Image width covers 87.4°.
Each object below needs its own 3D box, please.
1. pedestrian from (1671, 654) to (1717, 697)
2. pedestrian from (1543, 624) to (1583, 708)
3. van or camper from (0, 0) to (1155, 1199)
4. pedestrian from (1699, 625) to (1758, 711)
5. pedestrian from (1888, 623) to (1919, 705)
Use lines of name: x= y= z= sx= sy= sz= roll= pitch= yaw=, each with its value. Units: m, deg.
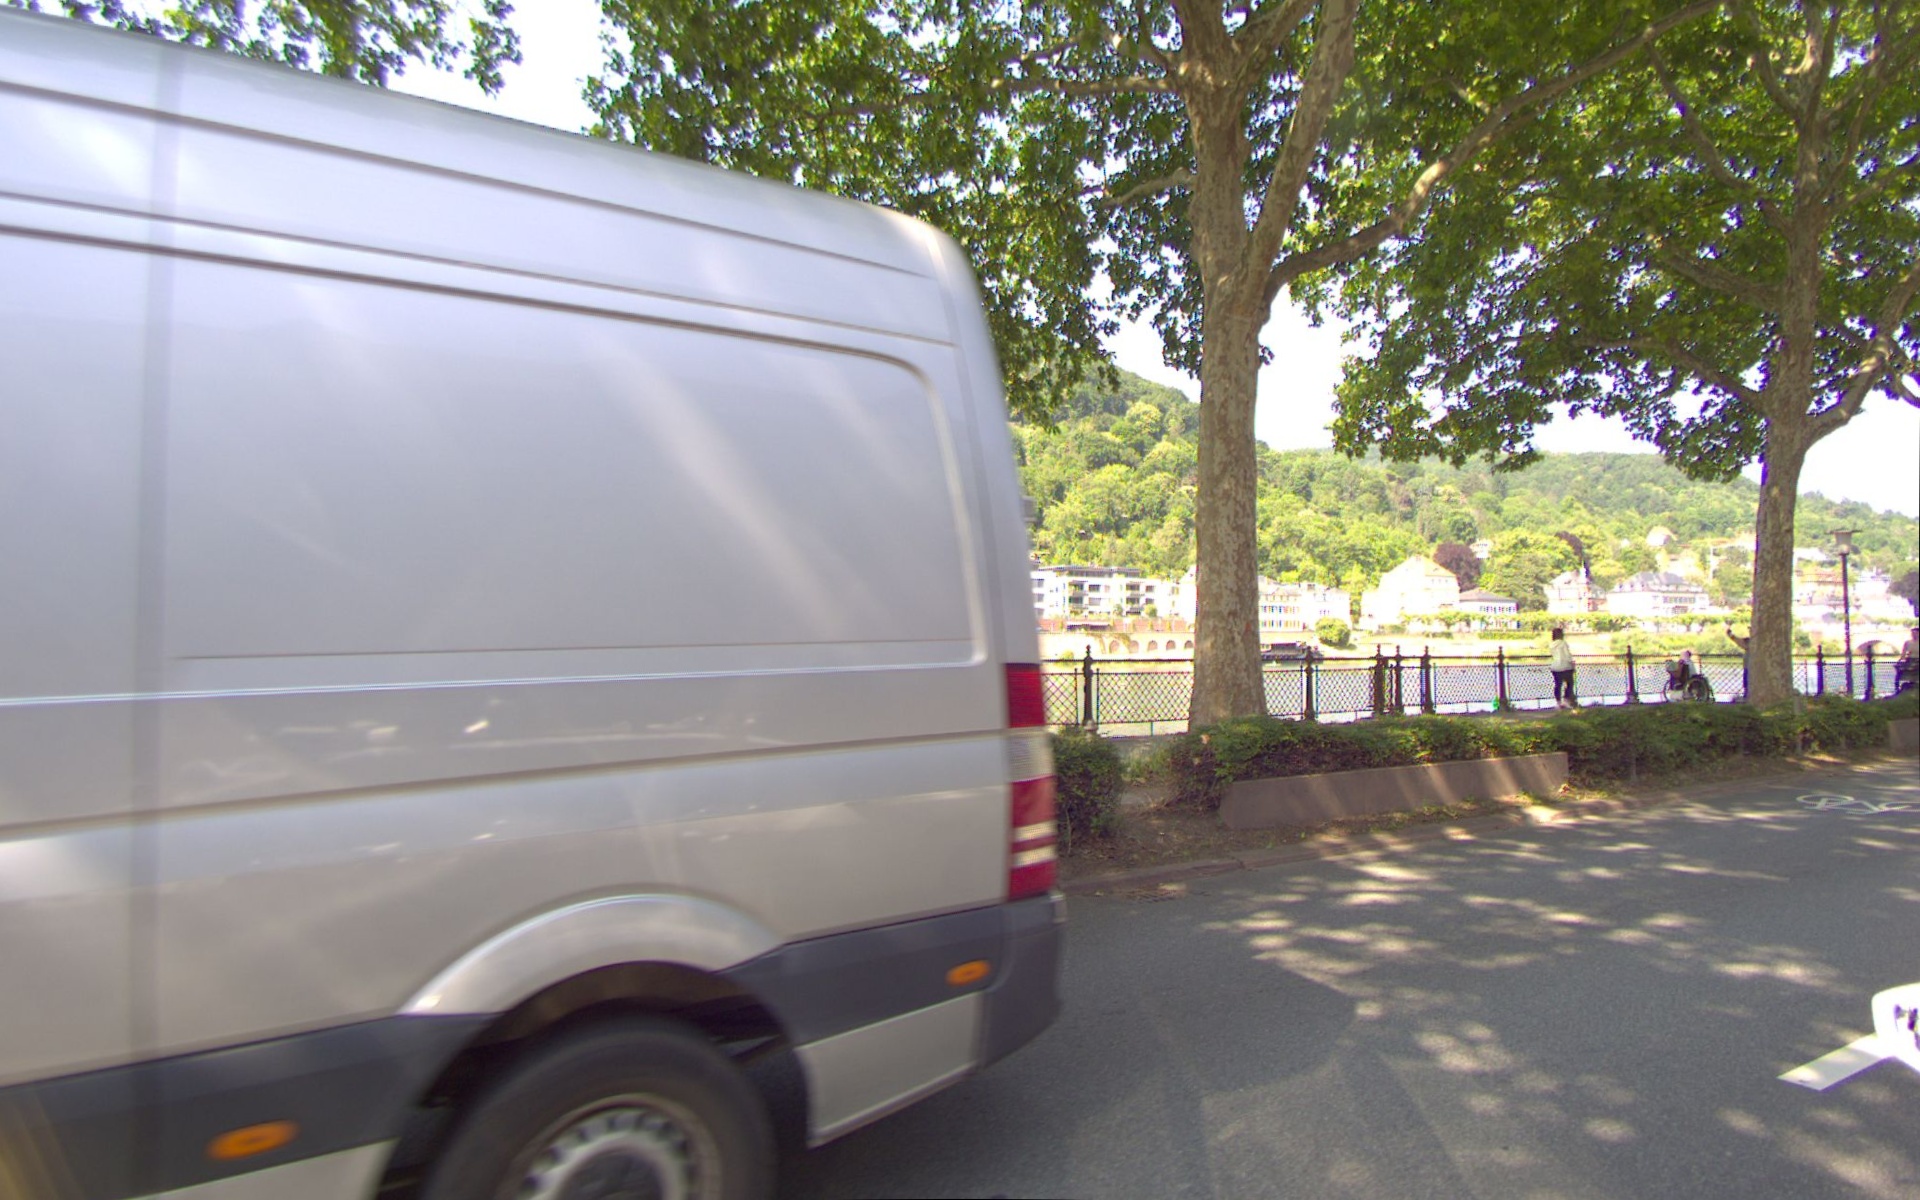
pedestrian: x=16.296 y=1.667 z=22.303 sx=0.697 sy=0.895 sz=0.604 roll=1 pitch=-2 yaw=-30
pedestrian: x=12.720 y=1.385 z=21.183 sx=0.399 sy=1.733 sz=0.581 roll=1 pitch=0 yaw=-31
van or camper: x=-2.504 y=0.215 z=1.996 sx=5.770 sy=2.600 sz=1.953 roll=2 pitch=-4 yaw=-30
pedestrian: x=16.150 y=1.417 z=21.108 sx=0.864 sy=1.740 sz=0.689 roll=1 pitch=0 yaw=-31
pedestrian: x=21.189 y=1.426 z=22.394 sx=0.584 sy=1.791 sz=0.515 roll=1 pitch=-3 yaw=-29
